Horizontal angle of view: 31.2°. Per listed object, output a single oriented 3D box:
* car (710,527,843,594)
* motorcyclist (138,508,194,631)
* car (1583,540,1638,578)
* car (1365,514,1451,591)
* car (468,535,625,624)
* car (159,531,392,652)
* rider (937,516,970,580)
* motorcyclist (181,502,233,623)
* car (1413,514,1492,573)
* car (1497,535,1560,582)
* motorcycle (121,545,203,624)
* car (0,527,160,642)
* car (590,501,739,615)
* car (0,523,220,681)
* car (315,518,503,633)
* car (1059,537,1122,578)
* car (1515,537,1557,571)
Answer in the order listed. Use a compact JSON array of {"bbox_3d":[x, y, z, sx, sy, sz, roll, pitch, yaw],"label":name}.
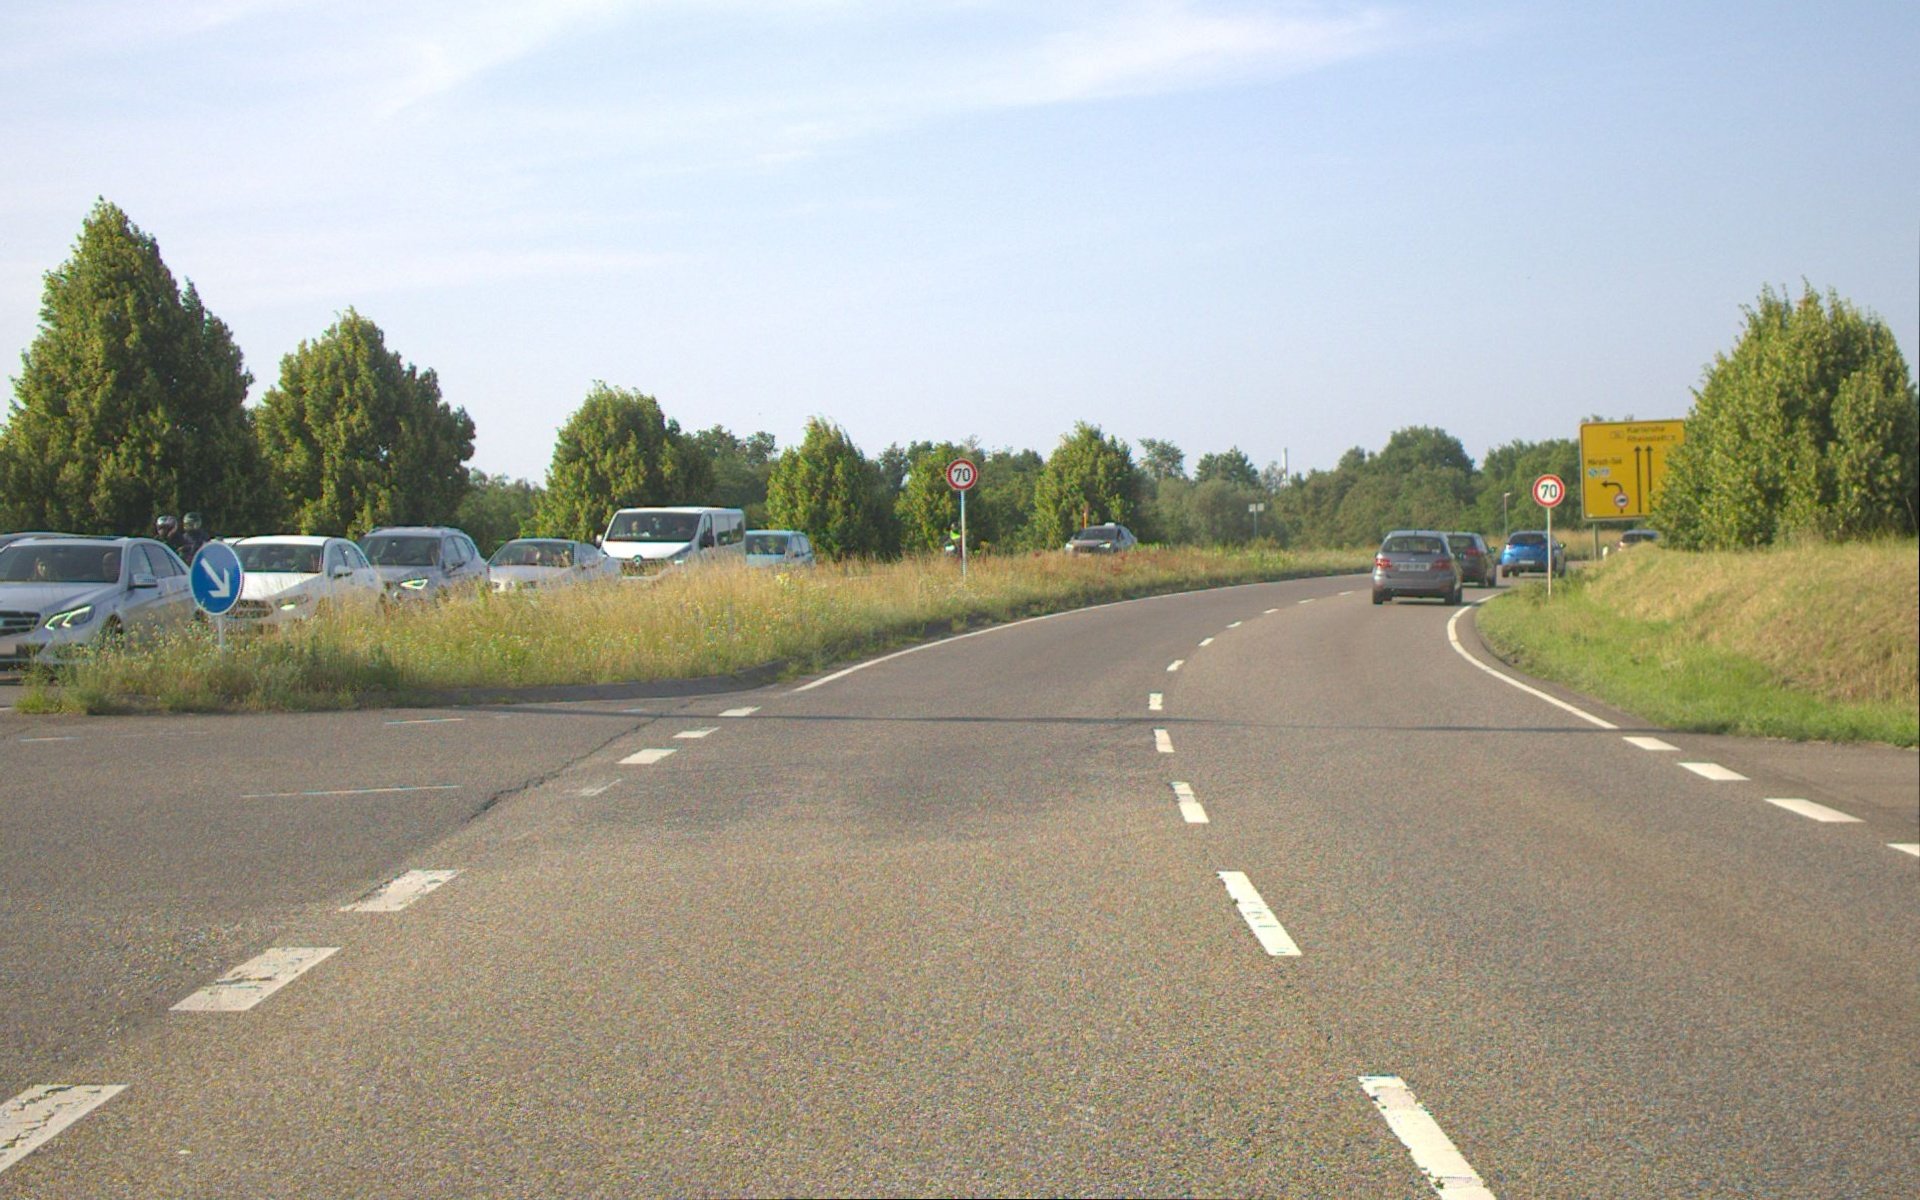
[{"bbox_3d":[-3.899,-0.853,73.687,1.787,1.381,4.049,0,1,13],"label":"car"},{"bbox_3d":[-11.367,-0.441,49.211,0.662,1.741,0.605,-1,1,-3],"label":"motorcyclist"},{"bbox_3d":[24.946,-1.569,131.783,1.916,1.411,3.793,0,0,13],"label":"car"},{"bbox_3d":[9.783,-1.006,74.953,1.785,1.600,4.194,0,0,8],"label":"car"},{"bbox_3d":[-6.654,-0.355,55.673,1.786,1.381,4.051,-1,1,4],"label":"car"},{"bbox_3d":[-8.509,-0.136,43.107,1.786,1.428,4.308,-1,1,4],"label":"car"},{"bbox_3d":[-0.214,-1.653,108.997,0.868,2.007,0.771,0,1,15],"label":"rider"},{"bbox_3d":[-11.410,-0.566,52.124,0.662,1.810,0.605,-1,1,-3],"label":"motorcyclist"},{"bbox_3d":[13.516,-1.541,94.270,1.811,1.560,4.528,0,1,12],"label":"car"},{"bbox_3d":[18.231,-1.343,110.206,1.774,1.487,3.983,0,1,12],"label":"car"},{"bbox_3d":[-11.399,-0.229,49.179,0.873,1.093,1.469,-1,1,-2],"label":"motorcycle"},{"bbox_3d":[-11.913,-0.223,44.793,1.786,1.428,4.051,-1,1,4],"label":"car"},{"bbox_3d":[-5.542,-0.799,64.994,1.926,2.071,4.242,-1,1,7],"label":"car"},{"bbox_3d":[-9.044,-0.015,34.834,1.786,1.483,4.651,-1,1,4],"label":"car"},{"bbox_3d":[-7.868,-0.376,49.417,1.786,1.563,4.051,-1,1,4],"label":"car"},{"bbox_3d":[4.696,-1.531,123.210,1.406,1.397,3.419,0,1,17],"label":"car"},{"bbox_3d":[25.586,-2.073,152.576,1.773,1.487,3.983,0,1,11],"label":"car"}]
